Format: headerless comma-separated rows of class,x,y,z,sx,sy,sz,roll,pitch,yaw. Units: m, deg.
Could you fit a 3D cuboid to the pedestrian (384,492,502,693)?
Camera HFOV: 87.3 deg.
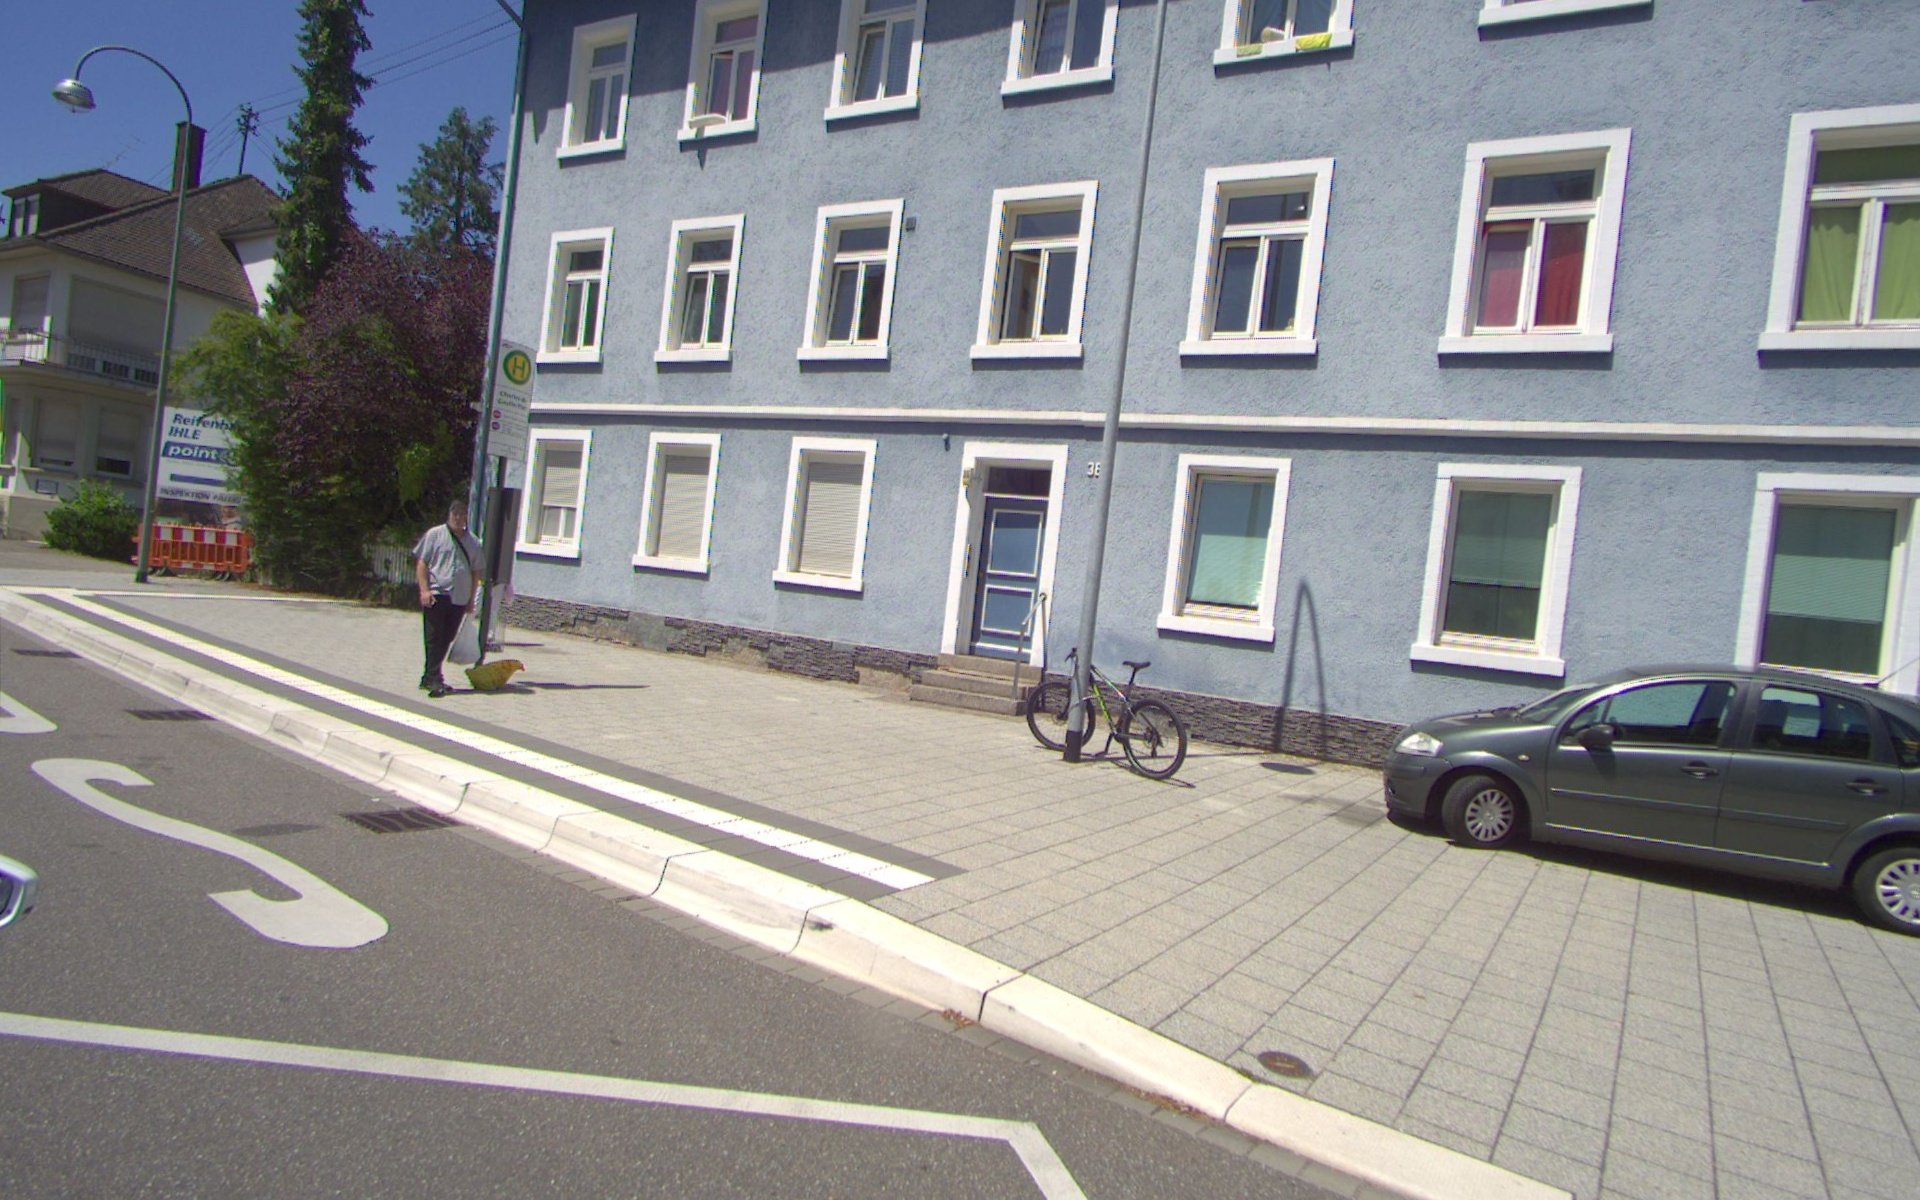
pedestrian,-5.007,-0.077,9.752,0.737,1.830,0.614,6,3,25

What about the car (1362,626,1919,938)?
car,5.159,1.165,7.500,3.678,1.534,1.758,7,3,30

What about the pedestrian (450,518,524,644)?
pedestrian,-6.510,-0.258,13.842,0.611,1.637,0.741,4,3,-44

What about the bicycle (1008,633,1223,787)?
bicycle,1.340,0.932,9.032,0.628,1.053,1.861,3,3,-41
